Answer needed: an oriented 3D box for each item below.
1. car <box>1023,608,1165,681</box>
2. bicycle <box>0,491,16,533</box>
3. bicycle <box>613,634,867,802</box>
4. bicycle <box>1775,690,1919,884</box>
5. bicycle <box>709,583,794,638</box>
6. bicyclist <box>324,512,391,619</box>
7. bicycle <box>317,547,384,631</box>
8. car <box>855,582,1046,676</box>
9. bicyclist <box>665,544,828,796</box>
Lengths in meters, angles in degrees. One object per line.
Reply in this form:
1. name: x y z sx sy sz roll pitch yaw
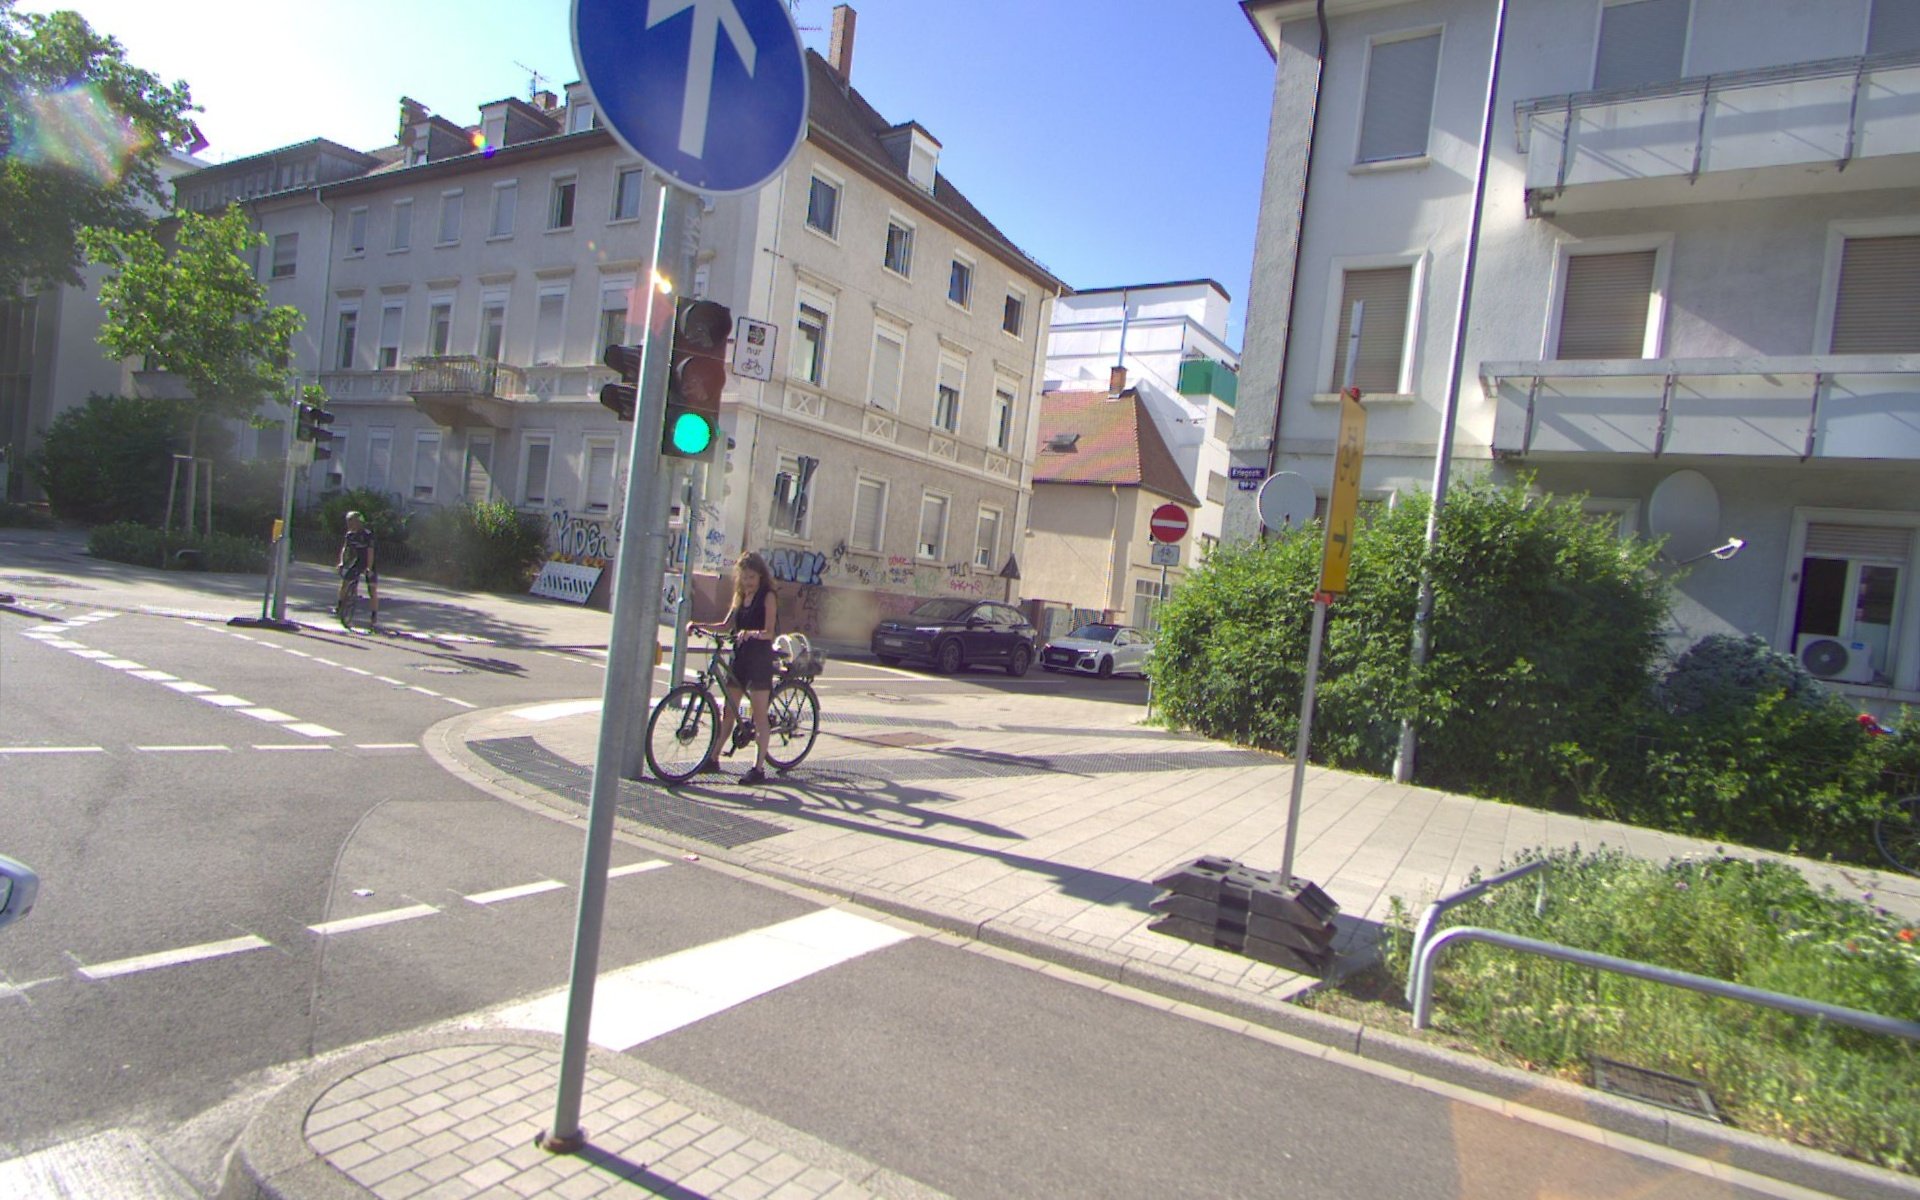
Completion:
1. car: 3.727 1.253 27.408 1.969 1.584 4.111 7 0 37
2. bicycle: -23.759 -2.174 24.336 0.581 1.017 2.119 6 0 -23
3. bicycle: -1.583 0.868 7.636 0.595 1.037 1.966 8 0 31
4. bicycle: 8.471 1.676 8.321 2.449 1.461 0.709 8 0 31
5. bicycle: -4.754 0.265 23.077 0.569 1.093 1.998 7 0 33
6. bicyclist: -9.185 -0.536 15.368 0.718 1.519 0.864 6 2 -29
7. bicycle: -9.303 -0.191 15.405 0.683 1.112 1.674 6 1 -28
8. car: -0.107 0.699 22.276 1.954 1.638 4.250 7 -1 36
9. bicyclist: -1.613 0.506 7.607 0.844 1.730 0.604 8 2 32
